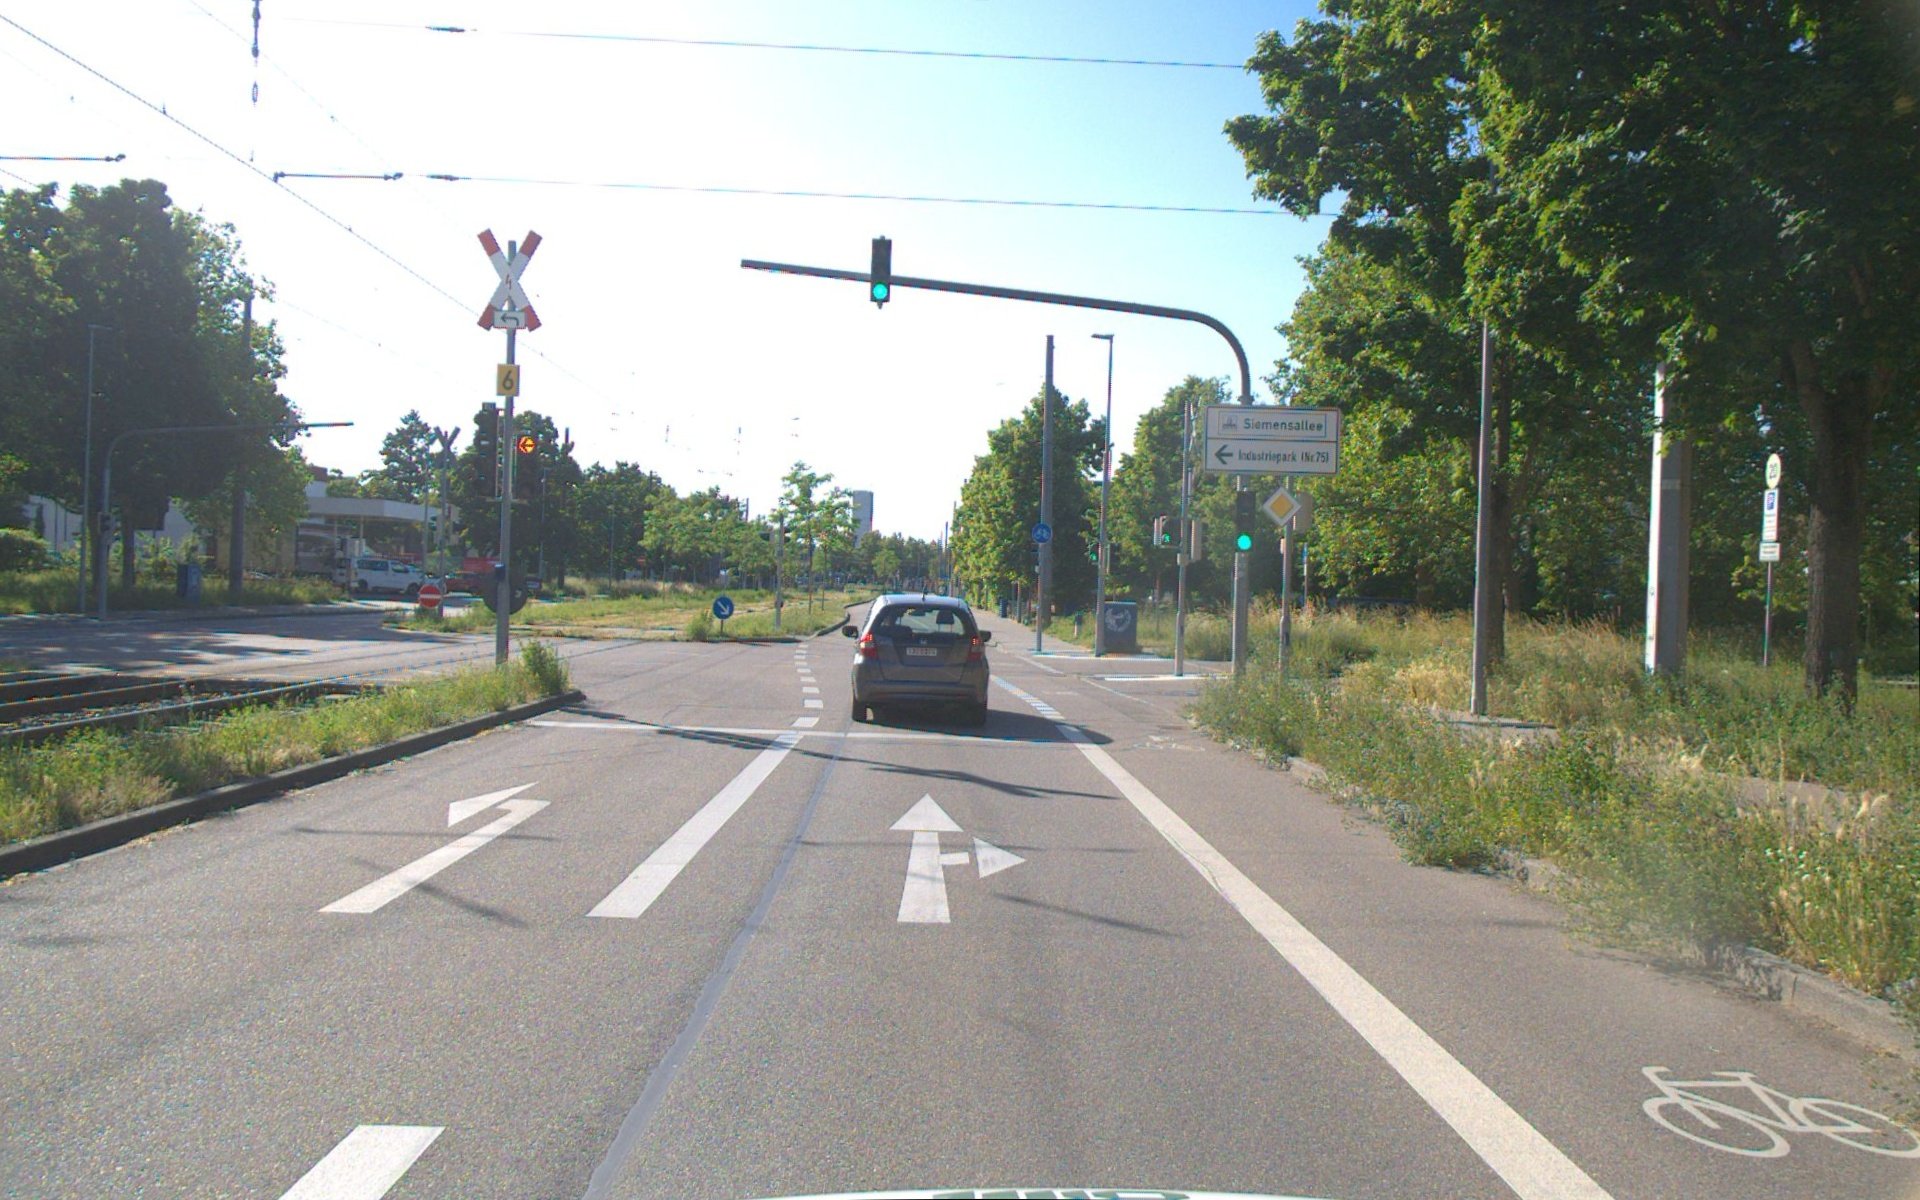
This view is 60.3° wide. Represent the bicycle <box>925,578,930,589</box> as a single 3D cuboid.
[{"bbox_3d":[-3.896,-1.953,196.639,0.502,1.263,3.088,2,1,-3],"label":"bicycle"}]

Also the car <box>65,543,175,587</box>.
[{"bbox_3d":[-43.839,-1.817,86.365,4.627,2.128,2.020,1,1,-4],"label":"car"}]

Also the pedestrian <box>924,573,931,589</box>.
[{"bbox_3d":[-3.896,-2.276,196.753,0.707,1.832,1.164,1,0,-3],"label":"pedestrian"}]

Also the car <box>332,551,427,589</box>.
[{"bbox_3d":[-32.135,-1.659,91.626,1.823,2.008,4.769,2,1,35],"label":"car"}]

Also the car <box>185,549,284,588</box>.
[{"bbox_3d":[-34.427,-1.476,78.554,3.890,1.552,1.727,3,-2,-7],"label":"car"}]

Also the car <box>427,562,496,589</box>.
[{"bbox_3d":[-32.639,-1.611,108.343,3.991,1.595,1.791,1,1,-4],"label":"car"}]

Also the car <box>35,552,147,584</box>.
[{"bbox_3d":[-37.422,-1.361,71.280,3.889,1.187,1.664,2,0,-6],"label":"car"}]

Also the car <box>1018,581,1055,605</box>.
[{"bbox_3d":[4.721,-0.451,102.243,1.739,1.411,3.866,1,1,-5],"label":"car"}]

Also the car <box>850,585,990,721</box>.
[{"bbox_3d":[-0.444,0.603,21.010,1.591,1.526,3.457,2,1,1],"label":"car"}]

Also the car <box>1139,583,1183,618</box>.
[{"bbox_3d":[12.373,0.002,102.164,1.834,2.000,5.165,3,1,-2],"label":"car"}]

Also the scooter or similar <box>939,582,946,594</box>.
[{"bbox_3d":[-1.660,-1.157,156.372,0.528,1.138,1.416,2,0,-4],"label":"scooter or similar"}]

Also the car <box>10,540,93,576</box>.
[{"bbox_3d":[-43.399,-1.978,79.096,1.545,1.571,4.090,2,1,1],"label":"car"}]

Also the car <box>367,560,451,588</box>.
[{"bbox_3d":[-32.052,-1.505,96.309,1.756,1.554,4.454,2,1,35],"label":"car"}]

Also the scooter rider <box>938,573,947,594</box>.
[{"bbox_3d":[-1.660,-1.579,156.419,0.702,1.934,0.934,2,0,-4],"label":"scooter rider"}]
